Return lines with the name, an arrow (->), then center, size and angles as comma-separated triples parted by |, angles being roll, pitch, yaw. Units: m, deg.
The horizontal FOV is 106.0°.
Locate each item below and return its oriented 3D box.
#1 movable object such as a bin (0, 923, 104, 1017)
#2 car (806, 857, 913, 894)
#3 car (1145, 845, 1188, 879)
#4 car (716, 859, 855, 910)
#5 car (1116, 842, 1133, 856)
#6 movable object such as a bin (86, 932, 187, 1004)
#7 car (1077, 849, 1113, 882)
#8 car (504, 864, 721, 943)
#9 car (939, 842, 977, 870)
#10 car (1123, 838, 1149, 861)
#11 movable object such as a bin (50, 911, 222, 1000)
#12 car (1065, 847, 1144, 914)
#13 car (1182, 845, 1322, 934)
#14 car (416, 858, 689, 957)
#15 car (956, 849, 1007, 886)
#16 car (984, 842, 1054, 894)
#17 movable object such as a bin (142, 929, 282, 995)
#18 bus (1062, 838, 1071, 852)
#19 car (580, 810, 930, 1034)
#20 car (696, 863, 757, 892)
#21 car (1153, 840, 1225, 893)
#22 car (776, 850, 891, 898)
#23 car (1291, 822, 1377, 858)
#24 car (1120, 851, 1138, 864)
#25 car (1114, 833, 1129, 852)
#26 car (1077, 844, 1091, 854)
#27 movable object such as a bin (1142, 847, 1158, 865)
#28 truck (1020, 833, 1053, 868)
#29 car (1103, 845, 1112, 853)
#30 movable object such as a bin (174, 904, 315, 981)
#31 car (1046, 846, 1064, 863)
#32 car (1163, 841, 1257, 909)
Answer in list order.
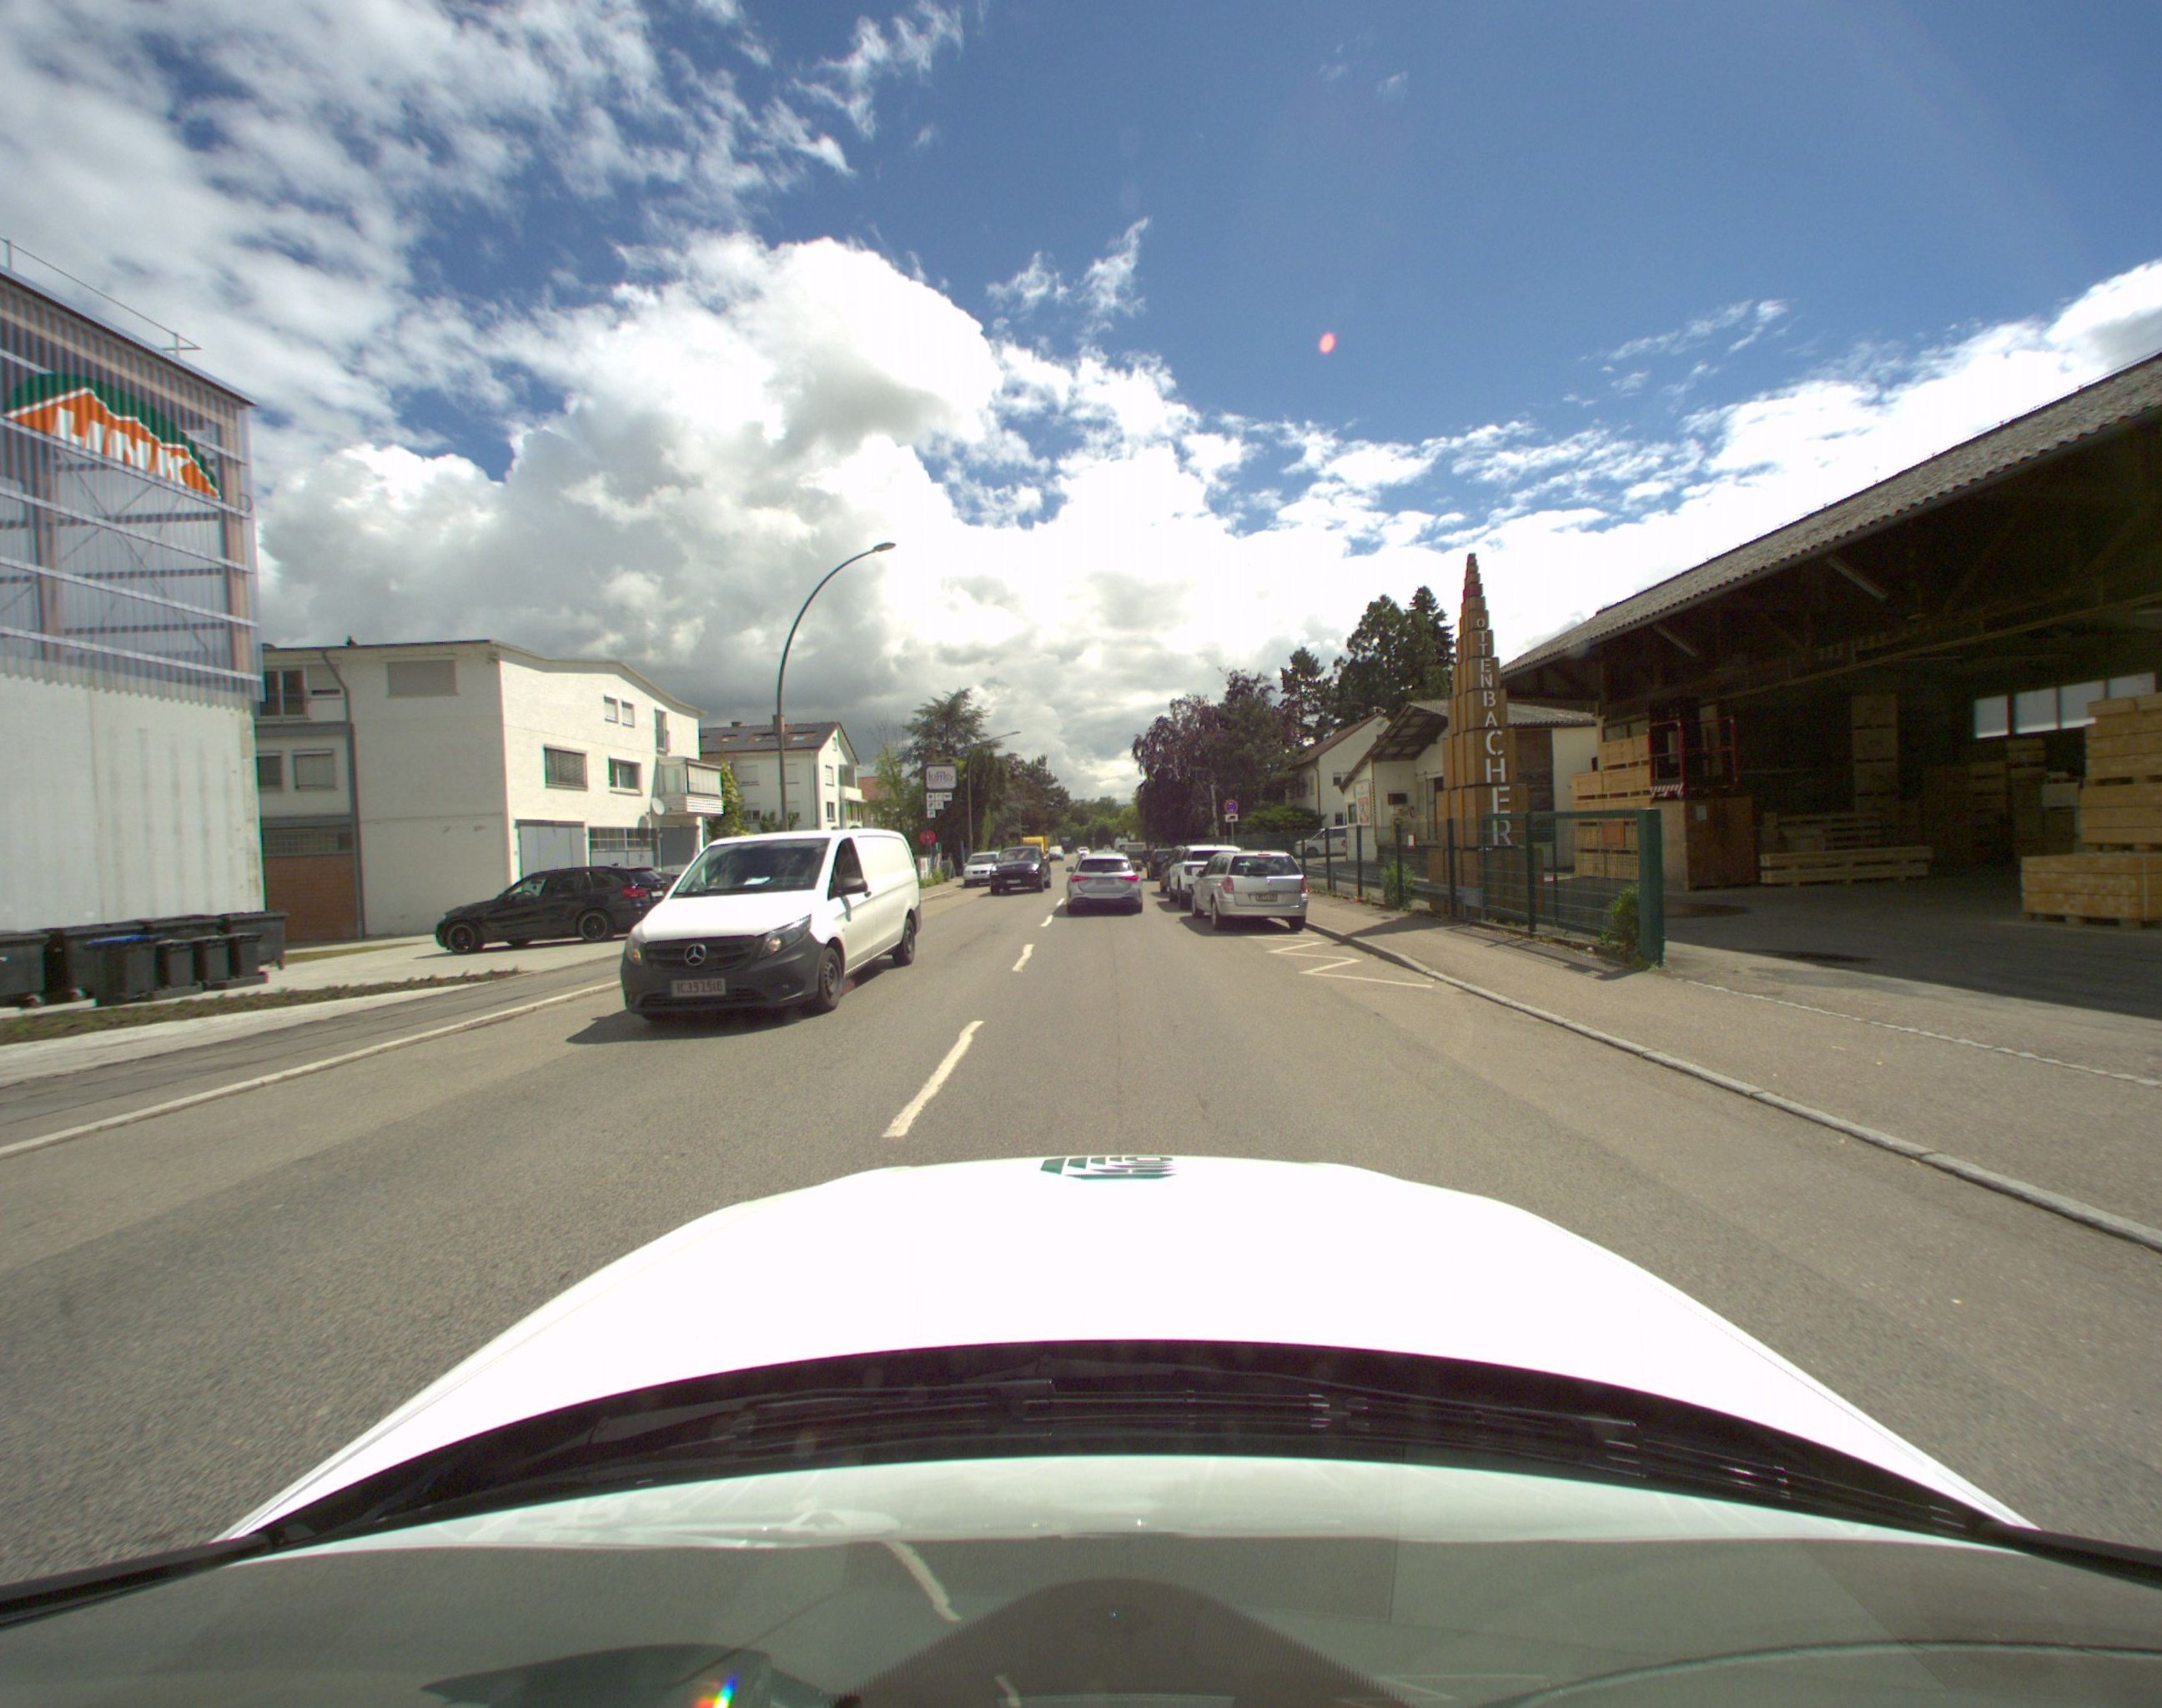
movable object such as a bin -> -17.617, 1.899, 13.344 | 0.953, 1.356, 1.820 | 0, 1, 3
car -> -10.118, 1.013, 37.418 | 4.265, 1.485, 1.991 | -3, -3, 0
car -> 4.017, 0.337, 38.712 | 1.683, 1.450, 3.850 | -3, 0, 2
car -> -10.678, 1.119, 29.632 | 4.264, 1.567, 1.991 | -3, -3, 1
car -> 5.329, -0.594, 100.380 | 1.779, 1.715, 4.315 | -1, 0, 0
movable object such as a bin -> -15.381, 1.843, 13.281 | 0.740, 1.030, 0.712 | -3, 0, 3
car -> 0.683, 0.555, 42.363 | 1.750, 1.558, 3.999 | -2, 1, 0
car -> -12.174, 1.247, 21.405 | 4.450, 1.505, 1.824 | -5, 1, -3
car -> -8.010, 0.085, 53.413 | 1.989, 1.657, 3.996 | -3, 1, -3
car -> 4.989, -0.404, 75.109 | 2.136, 1.984, 5.263 | -3, 0, 2
movable object such as a bin -> -17.541, 1.851, 15.198 | 0.953, 1.356, 1.820 | -3, 0, 3
car -> 0.521, 0.611, 20.697 | 1.779, 1.484, 4.315 | -1, 0, 0
car -> 3.271, 0.601, 16.450 | 1.786, 1.450, 4.362 | -3, 1, -1
car -> -11.865, 1.151, 18.596 | 4.615, 1.632, 2.196 | -5, 1, -2
car -> -4.801, 0.612, 39.983 | 1.785, 1.603, 4.365 | -3, 1, 1
car -> -2.261, 0.470, 30.856 | 1.985, 1.733, 4.552 | -3, 1, 3
movable object such as a bin -> -15.306, 1.879, 14.399 | 0.740, 0.919, 1.520 | -3, 0, 3
bus -> -3.578, -2.317, 199.884 | 1.989, 3.364, 6.973 | 0, 1, -4
car -> -3.366, 0.572, 9.785 | 1.987, 1.888, 5.118 | -3, 1, 1
car -> -22.842, 1.487, 52.681 | 1.987, 1.544, 4.375 | -3, 1, -1
car -> 3.558, 0.380, 27.548 | 1.685, 1.552, 4.082 | -3, 0, -2
car -> -10.564, 0.886, 35.006 | 4.265, 1.836, 1.991 | -3, -3, 0
car -> 16.467, -0.899, 53.203 | 4.994, 1.929, 2.003 | -4, 0, 4
car -> 5.550, 0.401, 95.202 | 1.779, 1.484, 4.315 | -1, 0, 0
car -> 5.563, -1.549, 112.784 | 1.779, 2.518, 4.315 | -1, 0, 0
car -> 0.514, -0.786, 123.237 | 1.927, 1.492, 4.365 | -3, 1, 1
movable object such as a bin -> 5.048, 0.162, 59.737 | 1.080, 1.271, 1.380 | 0, 1, 2
truck -> -3.905, -0.332, 72.453 | 2.067, 2.814, 7.083 | -3, 1, 3
car -> 5.670, -1.106, 175.289 | 1.751, 1.558, 3.997 | -2, 1, -2
movable object such as a bin -> -17.475, 1.823, 17.096 | 0.953, 1.356, 1.820 | -3, 0, 3
car -> -3.185, 0.000, 101.671 | 1.927, 1.918, 4.365 | -3, 1, 1
car -> 3.328, 0.476, 21.909 | 1.786, 1.552, 4.574 | -3, 1, 1
